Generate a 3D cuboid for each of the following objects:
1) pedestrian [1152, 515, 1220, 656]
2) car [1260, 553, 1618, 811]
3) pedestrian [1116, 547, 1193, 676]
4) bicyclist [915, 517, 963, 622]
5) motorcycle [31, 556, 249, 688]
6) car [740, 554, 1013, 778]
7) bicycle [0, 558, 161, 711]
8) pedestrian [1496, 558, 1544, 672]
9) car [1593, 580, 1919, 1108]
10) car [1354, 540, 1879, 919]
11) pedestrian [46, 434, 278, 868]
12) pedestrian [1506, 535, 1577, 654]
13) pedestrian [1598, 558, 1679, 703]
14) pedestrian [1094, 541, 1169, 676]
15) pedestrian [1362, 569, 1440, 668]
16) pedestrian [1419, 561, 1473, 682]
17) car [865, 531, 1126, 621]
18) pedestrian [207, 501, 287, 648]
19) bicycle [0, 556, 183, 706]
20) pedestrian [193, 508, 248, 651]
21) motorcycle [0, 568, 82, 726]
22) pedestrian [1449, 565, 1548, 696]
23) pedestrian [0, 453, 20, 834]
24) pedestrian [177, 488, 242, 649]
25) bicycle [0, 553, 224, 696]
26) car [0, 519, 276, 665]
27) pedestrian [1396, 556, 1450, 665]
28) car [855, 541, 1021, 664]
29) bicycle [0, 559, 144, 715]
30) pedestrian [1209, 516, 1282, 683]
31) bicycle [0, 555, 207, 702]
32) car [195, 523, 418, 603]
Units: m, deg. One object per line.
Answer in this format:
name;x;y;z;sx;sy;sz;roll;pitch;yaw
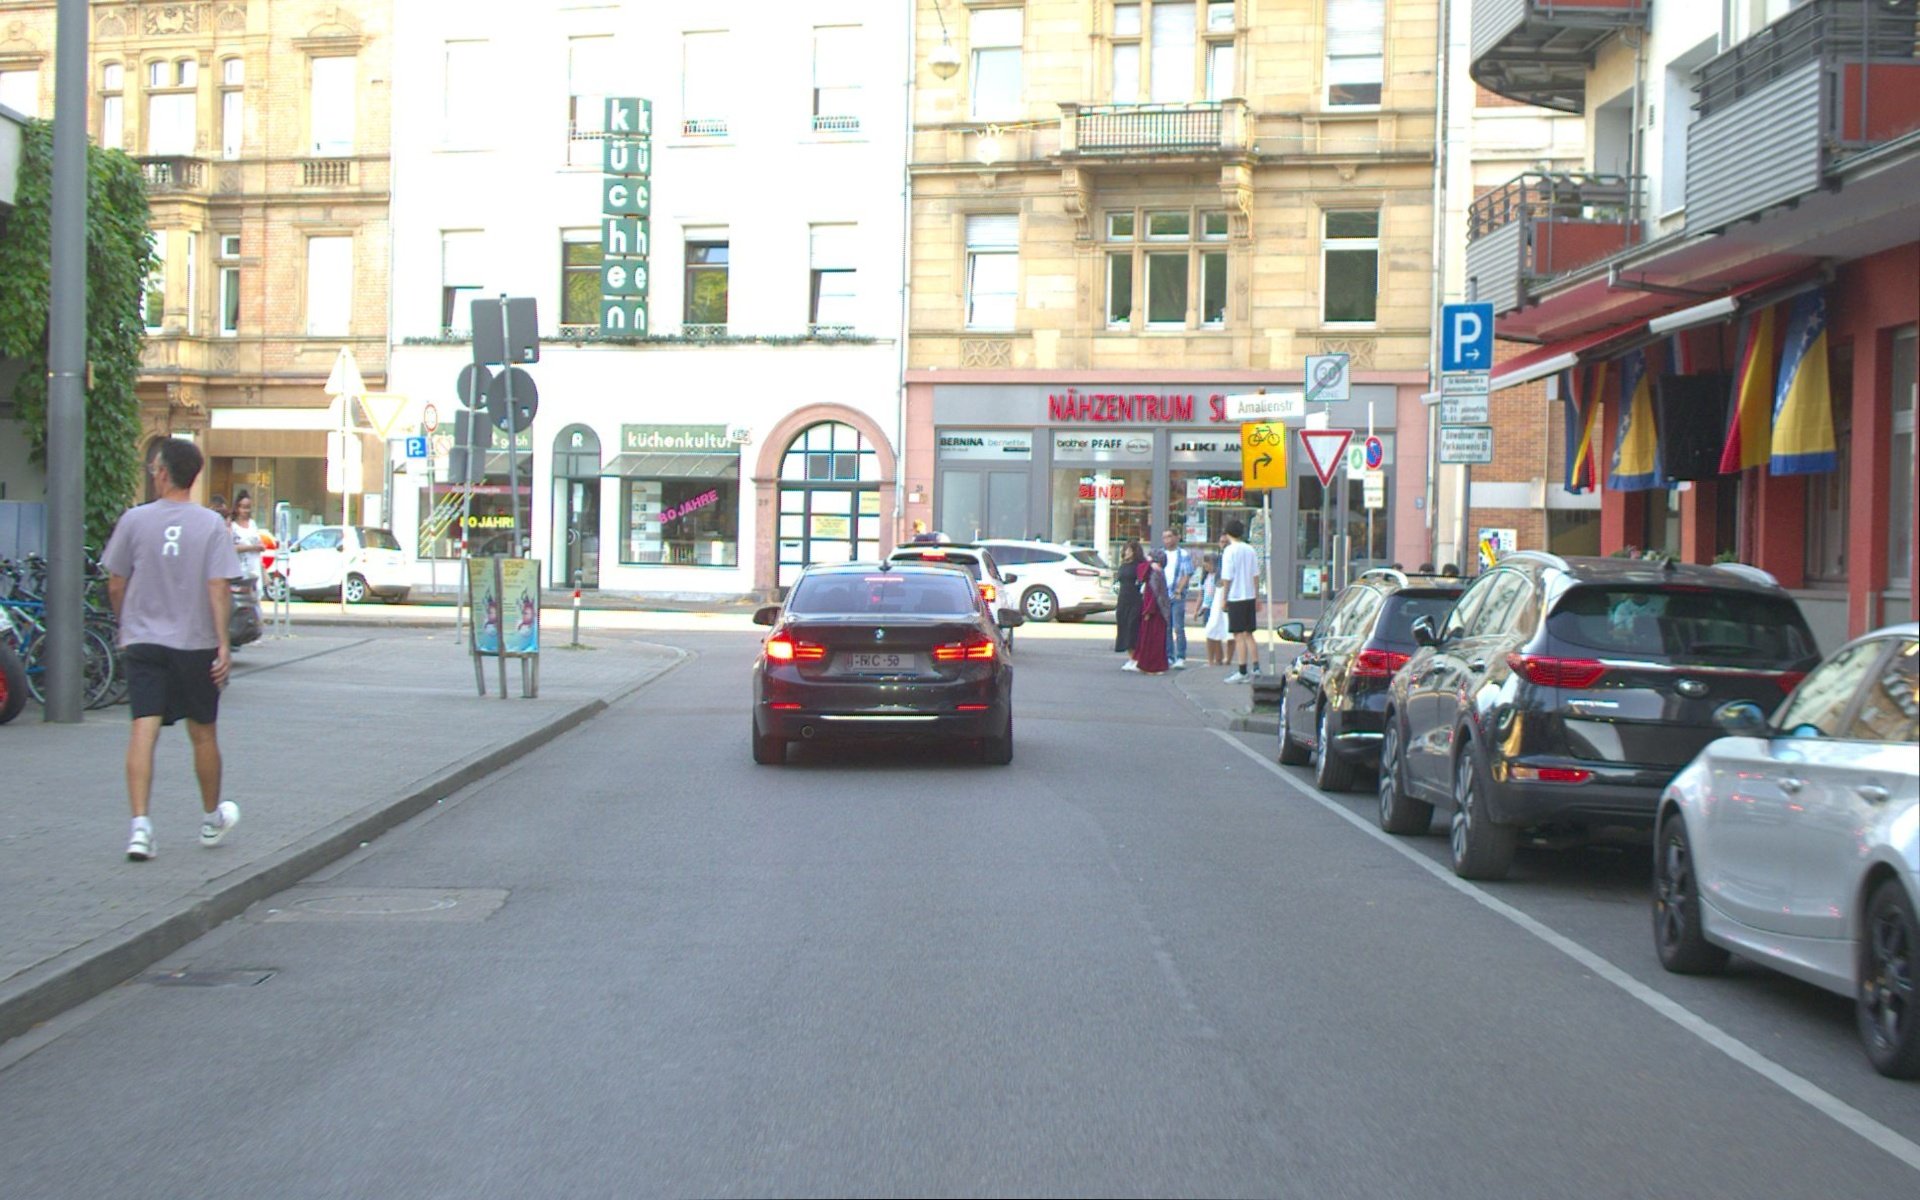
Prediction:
pedestrian;2.816;-0.188;42.914;0.604;1.740;0.669;0;1;-21
car;3.270;0.492;24.376;1.765;1.497;4.791;3;1;0
pedestrian;2.341;0.132;41.472;0.735;1.508;0.650;2;1;-9
bicyclist;-0.356;-0.515;58.001;0.523;1.750;0.620;1;1;-32
motorcycle;-7.241;0.200;30.395;1.745;1.097;0.567;2;1;-35
car;-0.558;0.406;25.144;1.765;1.370;4.791;2;1;0
bicycle;-7.114;0.247;26.389;1.794;1.104;0.500;3;1;2
pedestrian;6.365;0.163;39.076;0.490;1.272;0.521;1;1;13
car;3.591;0.748;11.949;1.698;1.447;4.459;3;1;-2
car;3.346;0.566;18.484;1.765;1.636;4.791;3;1;-1
pedestrian;-3.621;0.214;15.681;0.744;1.887;1.050;2;1;0
pedestrian;5.965;-0.055;35.260;0.417;1.197;0.537;-3;1;-43
pedestrian;6.421;0.282;32.539;0.606;1.343;0.696;0;1;-2
pedestrian;2.096;0.099;42.129;0.724;1.603;0.650;2;1;-9
pedestrian;5.195;0.213;40.533;0.890;1.146;0.619;1;1;7
pedestrian;5.312;0.230;37.569;0.491;1.299;0.418;-2;1;0
car;0.643;-0.449;62.464;4.356;1.557;1.866;1;0;22
pedestrian;-8.576;-0.315;41.362;0.673;1.740;0.655;2;2;39
bicycle;-7.102;0.233;27.138;1.794;1.104;0.500;3;1;-5
pedestrian;-8.590;-0.242;39.943;0.500;1.637;0.520;1;1;1
motorcycle;-7.204;0.296;24.361;1.803;1.060;0.763;3;1;25
pedestrian;5.303;0.295;33.887;0.859;1.252;0.491;-2;1;0
pedestrian;-4.619;0.241;14.891;0.741;1.806;1.009;3;1;-1
pedestrian;-8.854;-0.375;40.576;0.583;1.876;0.633;1;1;5
bicycle;-7.131;0.203;28.773;1.794;1.104;0.500;3;1;0
car;-9.397;-0.107;36.777;3.986;1.496;1.892;0;1;-8
pedestrian;5.544;0.123;41.181;0.617;1.279;0.659;1;1;8
car;-0.237;-0.008;44.173;1.877;1.468;4.000;1;1;3
bicycle;-7.103;0.257;25.794;1.794;1.104;0.500;3;1;-1
pedestrian;3.252;-0.011;39.144;0.676;1.871;0.700;2;1;13
bicycle;-7.071;0.221;27.842;1.794;1.104;0.500;3;1;-3
car;-12.955;-0.735;68.165;3.991;1.505;1.798;1;0;22
